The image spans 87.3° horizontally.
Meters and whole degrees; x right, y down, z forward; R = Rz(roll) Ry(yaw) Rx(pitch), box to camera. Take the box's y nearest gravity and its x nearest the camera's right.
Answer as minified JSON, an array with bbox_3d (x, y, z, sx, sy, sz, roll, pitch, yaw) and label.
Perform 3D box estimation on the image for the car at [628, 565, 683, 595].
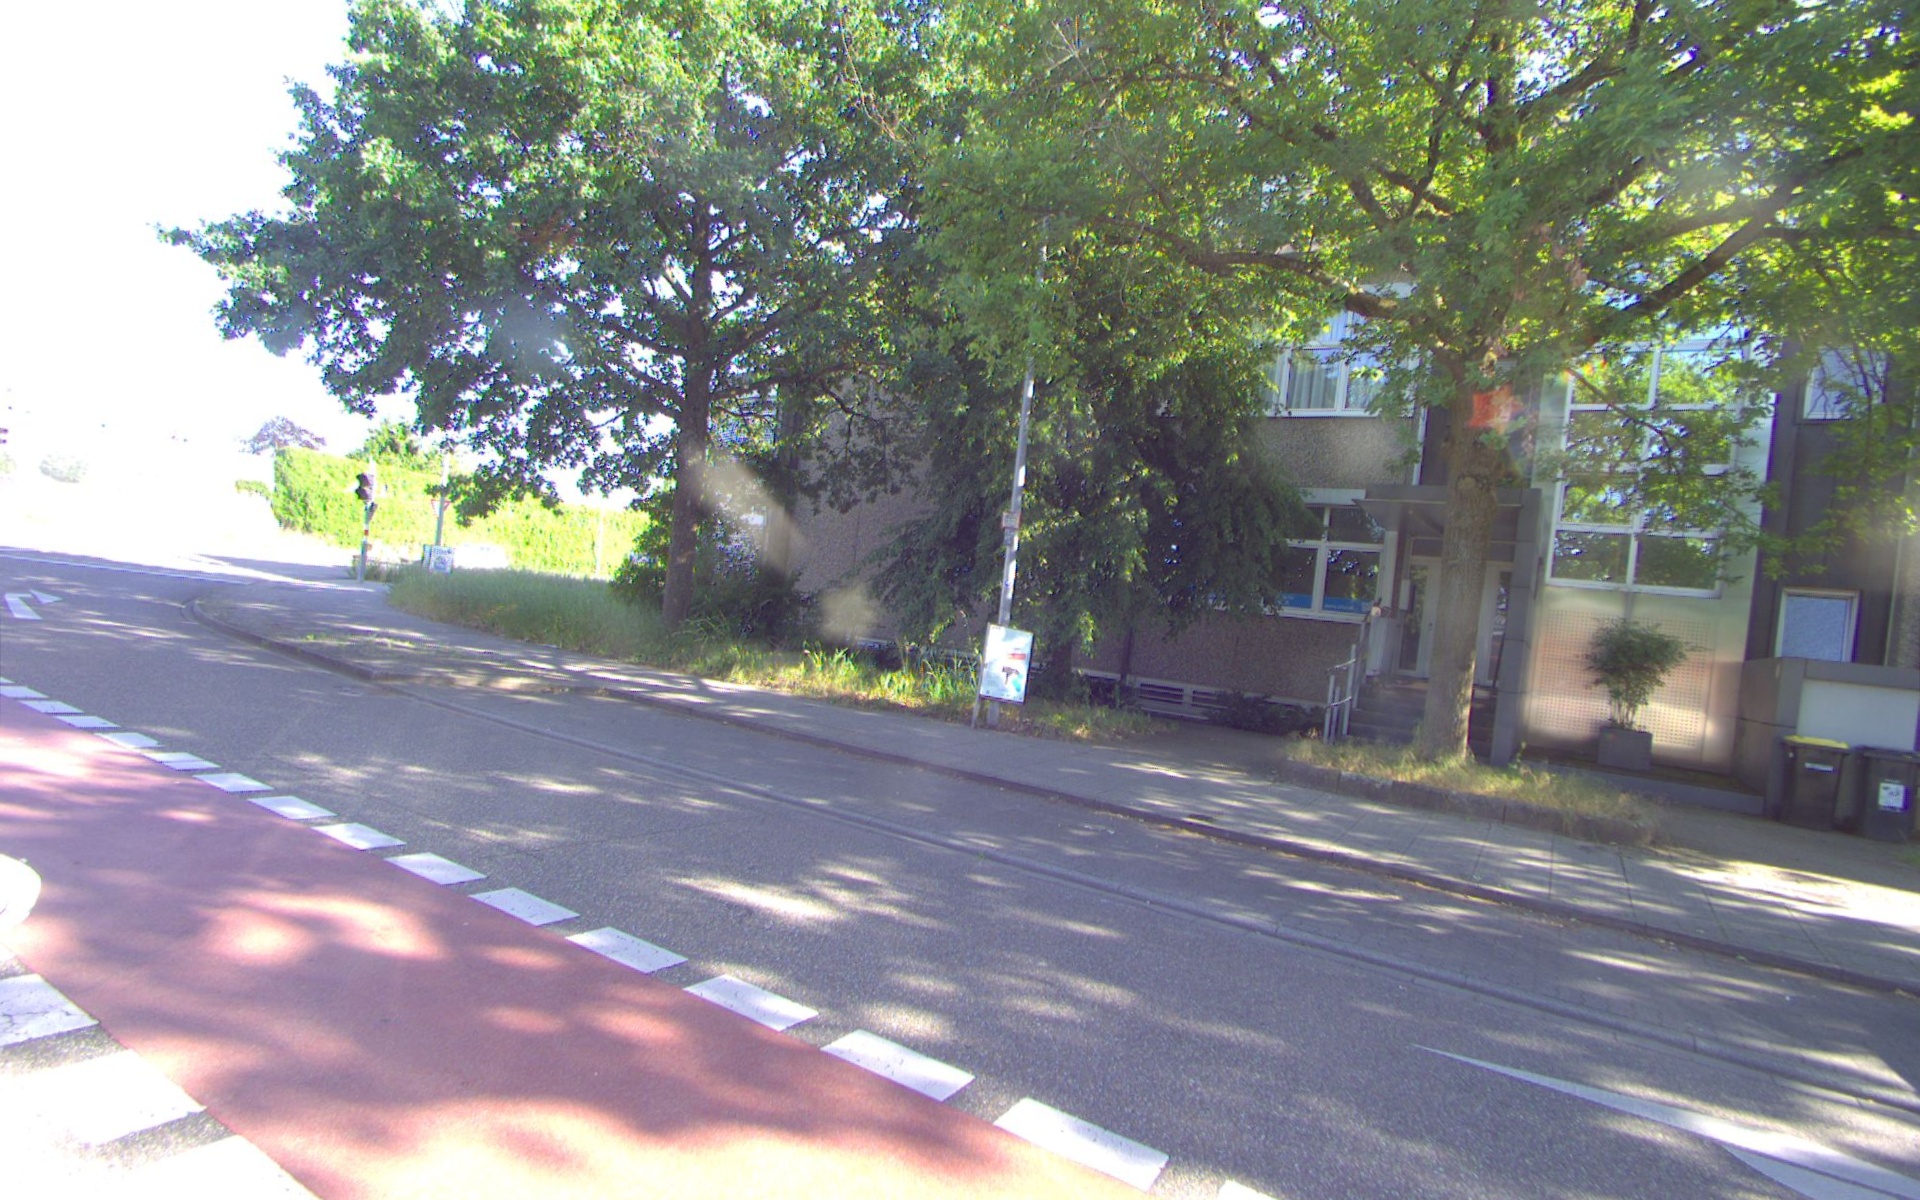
[{"bbox_3d":[-24.627,-1.630,81.445,1.888,1.836,4.001,7,-2,24],"label":"car"}]

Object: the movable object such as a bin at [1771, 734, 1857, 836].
[{"bbox_3d":[10.176,2.186,12.010,0.575,1.070,0.625,7,0,30],"label":"movable object such as a bin"}]

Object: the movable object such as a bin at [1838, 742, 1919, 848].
[{"bbox_3d":[10.765,2.254,11.716,0.605,1.075,0.634,6,0,30],"label":"movable object such as a bin"}]

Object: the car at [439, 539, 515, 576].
[{"bbox_3d":[-29.521,-2.585,61.602,1.677,1.631,3.820,7,-2,25],"label":"car"}]
